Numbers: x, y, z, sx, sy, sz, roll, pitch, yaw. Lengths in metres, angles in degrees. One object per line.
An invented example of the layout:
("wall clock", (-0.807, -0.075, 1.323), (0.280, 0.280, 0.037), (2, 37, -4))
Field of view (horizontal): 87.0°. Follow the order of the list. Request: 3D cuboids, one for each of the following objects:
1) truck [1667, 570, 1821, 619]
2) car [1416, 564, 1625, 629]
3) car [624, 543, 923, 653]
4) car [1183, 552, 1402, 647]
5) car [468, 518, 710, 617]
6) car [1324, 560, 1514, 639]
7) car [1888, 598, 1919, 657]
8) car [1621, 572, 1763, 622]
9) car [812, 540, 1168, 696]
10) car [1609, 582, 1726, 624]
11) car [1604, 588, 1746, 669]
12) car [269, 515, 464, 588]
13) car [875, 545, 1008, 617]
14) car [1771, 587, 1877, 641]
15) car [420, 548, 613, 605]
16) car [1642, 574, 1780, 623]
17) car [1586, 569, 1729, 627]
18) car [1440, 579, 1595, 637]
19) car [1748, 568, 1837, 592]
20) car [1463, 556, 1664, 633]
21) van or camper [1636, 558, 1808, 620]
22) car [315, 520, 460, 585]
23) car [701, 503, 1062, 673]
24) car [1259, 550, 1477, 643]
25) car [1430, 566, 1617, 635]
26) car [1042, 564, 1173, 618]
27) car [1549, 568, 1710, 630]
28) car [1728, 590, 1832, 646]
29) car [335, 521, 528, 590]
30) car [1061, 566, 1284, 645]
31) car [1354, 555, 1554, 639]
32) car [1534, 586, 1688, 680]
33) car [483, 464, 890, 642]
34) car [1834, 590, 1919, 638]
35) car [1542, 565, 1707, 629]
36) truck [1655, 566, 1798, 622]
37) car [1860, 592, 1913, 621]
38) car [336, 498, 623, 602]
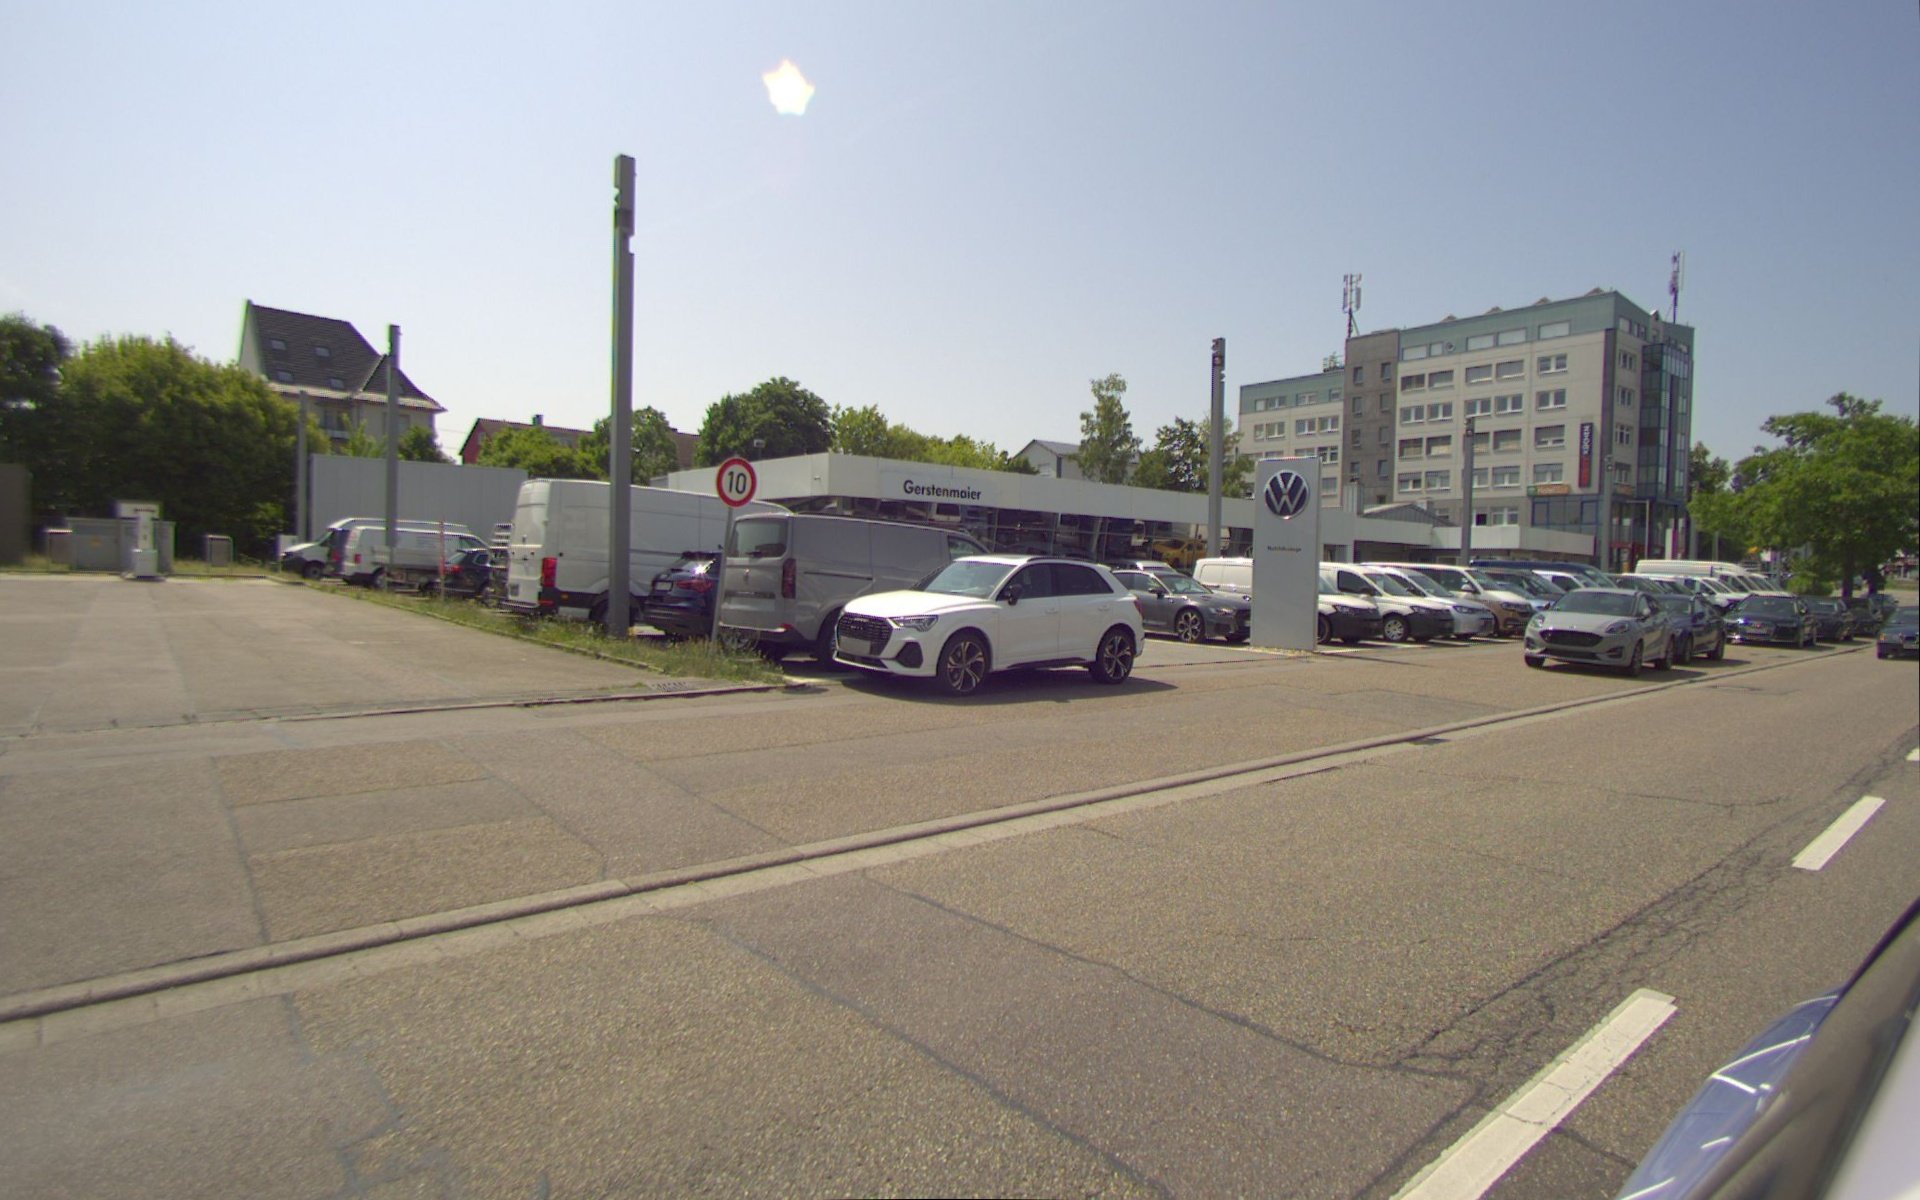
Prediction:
("truck", (42.933, -0.348, 55.592), (2.326, 2.365, 6.261), (1, 3, -40))
("car", (19.111, -0.164, 34.779), (2.219, 2.039, 5.905), (-1, 1, -40))
("car", (-2.892, -0.030, 16.359), (4.521, 1.533, 1.746), (0, 0, -42))
("car", (7.530, -0.095, 23.275), (1.876, 1.905, 4.421), (0, 3, -42))
("car", (-8.100, -0.661, 22.473), (1.733, 1.889, 4.726), (3, 0, 43))
("car", (12.029, -0.095, 26.716), (1.849, 1.802, 4.158), (-2, 5, -42))
("car", (25.349, 0.680, 26.310), (1.693, 1.391, 3.937), (-1, 0, 44))
("car", (33.774, -0.183, 46.812), (2.104, 1.995, 4.923), (-1, 4, -41))
("car", (0.530, 0.163, 12.712), (4.533, 1.615, 1.670), (0, 2, -42))
("car", (31.658, 0.099, 45.354), (4.024, 1.488, 1.885), (7, 4, 42))
("car", (16.237, 0.547, 22.889), (4.711, 1.567, 1.715), (-1, 3, -44))
("car", (-23.986, -1.965, 41.160), (6.544, 2.727, 1.997), (-3, 2, -41))
("car", (-0.621, -0.589, 28.466), (1.961, 1.846, 4.385), (1, 2, -28))
("car", (29.091, 0.420, 34.020), (5.072, 1.548, 1.965), (0, 4, -42))
("car", (-11.548, -0.559, 26.513), (4.302, 1.374, 1.746), (0, 0, -42))
("car", (35.865, -0.110, 48.454), (2.122, 2.139, 4.956), (0, 2, -42))
("car", (29.630, -0.137, 43.125), (2.159, 2.037, 4.522), (-2, 6, -40))
("car", (16.407, 0.179, 29.920), (1.684, 1.590, 3.642), (0, 1, -35))
("car", (61.741, -1.480, 75.181), (4.688, 1.734, 1.985), (0, 2, 24))
("car", (21.586, -0.250, 36.447), (2.165, 2.555, 5.858), (-2, 2, -38))
("van or camper", (39.522, -0.632, 52.705), (2.236, 2.933, 6.809), (0, 2, -41))
("car", (-20.755, -1.681, 36.778), (4.302, 2.191, 1.747), (0, 2, -42))
("car", (-0.962, -0.183, 14.654), (5.072, 2.048, 1.996), (0, 1, -42))
("car", (9.895, -0.149, 24.830), (1.826, 1.911, 4.563), (1, 4, -43))
("car", (17.819, -0.020, 32.212), (1.968, 2.009, 4.796), (3, -1, -40))
("car", (4.687, -0.331, 32.630), (1.826, 1.590, 3.998), (0, 2, -38))
("car", (27.224, -0.102, 41.299), (2.005, 2.122, 5.075), (0, 4, -41))
("car", (24.595, 0.467, 30.272), (5.072, 1.499, 1.856), (-1, 2, -45))
("car", (-16.970, -1.370, 32.669), (5.266, 2.020, 1.746), (0, 0, -42))
("car", (4.578, 0.047, 22.361), (1.965, 1.464, 4.542), (0, 2, -41))
("car", (13.930, -0.140, 28.762), (1.927, 2.038, 4.648), (1, 3, -43))
("car", (12.432, 0.544, 19.212), (1.732, 1.572, 4.114), (2, 1, 43))
("car", (-4.740, -0.762, 18.565), (6.895, 2.708, 2.260), (0, 2, -41))
("car", (34.335, 0.477, 37.753), (1.672, 1.453, 4.396), (1, 4, 29))
("car", (25.736, -0.163, 39.342), (2.092, 2.140, 4.909), (1, 3, -42))
("truck", (37.952, -0.365, 50.254), (2.073, 2.465, 5.261), (0, 3, -39))
("car", (49.464, 0.302, 54.005), (4.248, 1.423, 1.799), (-1, 1, -43))
("car", (-13.355, -1.297, 28.531), (6.949, 2.587, 2.260), (0, 2, -41))
